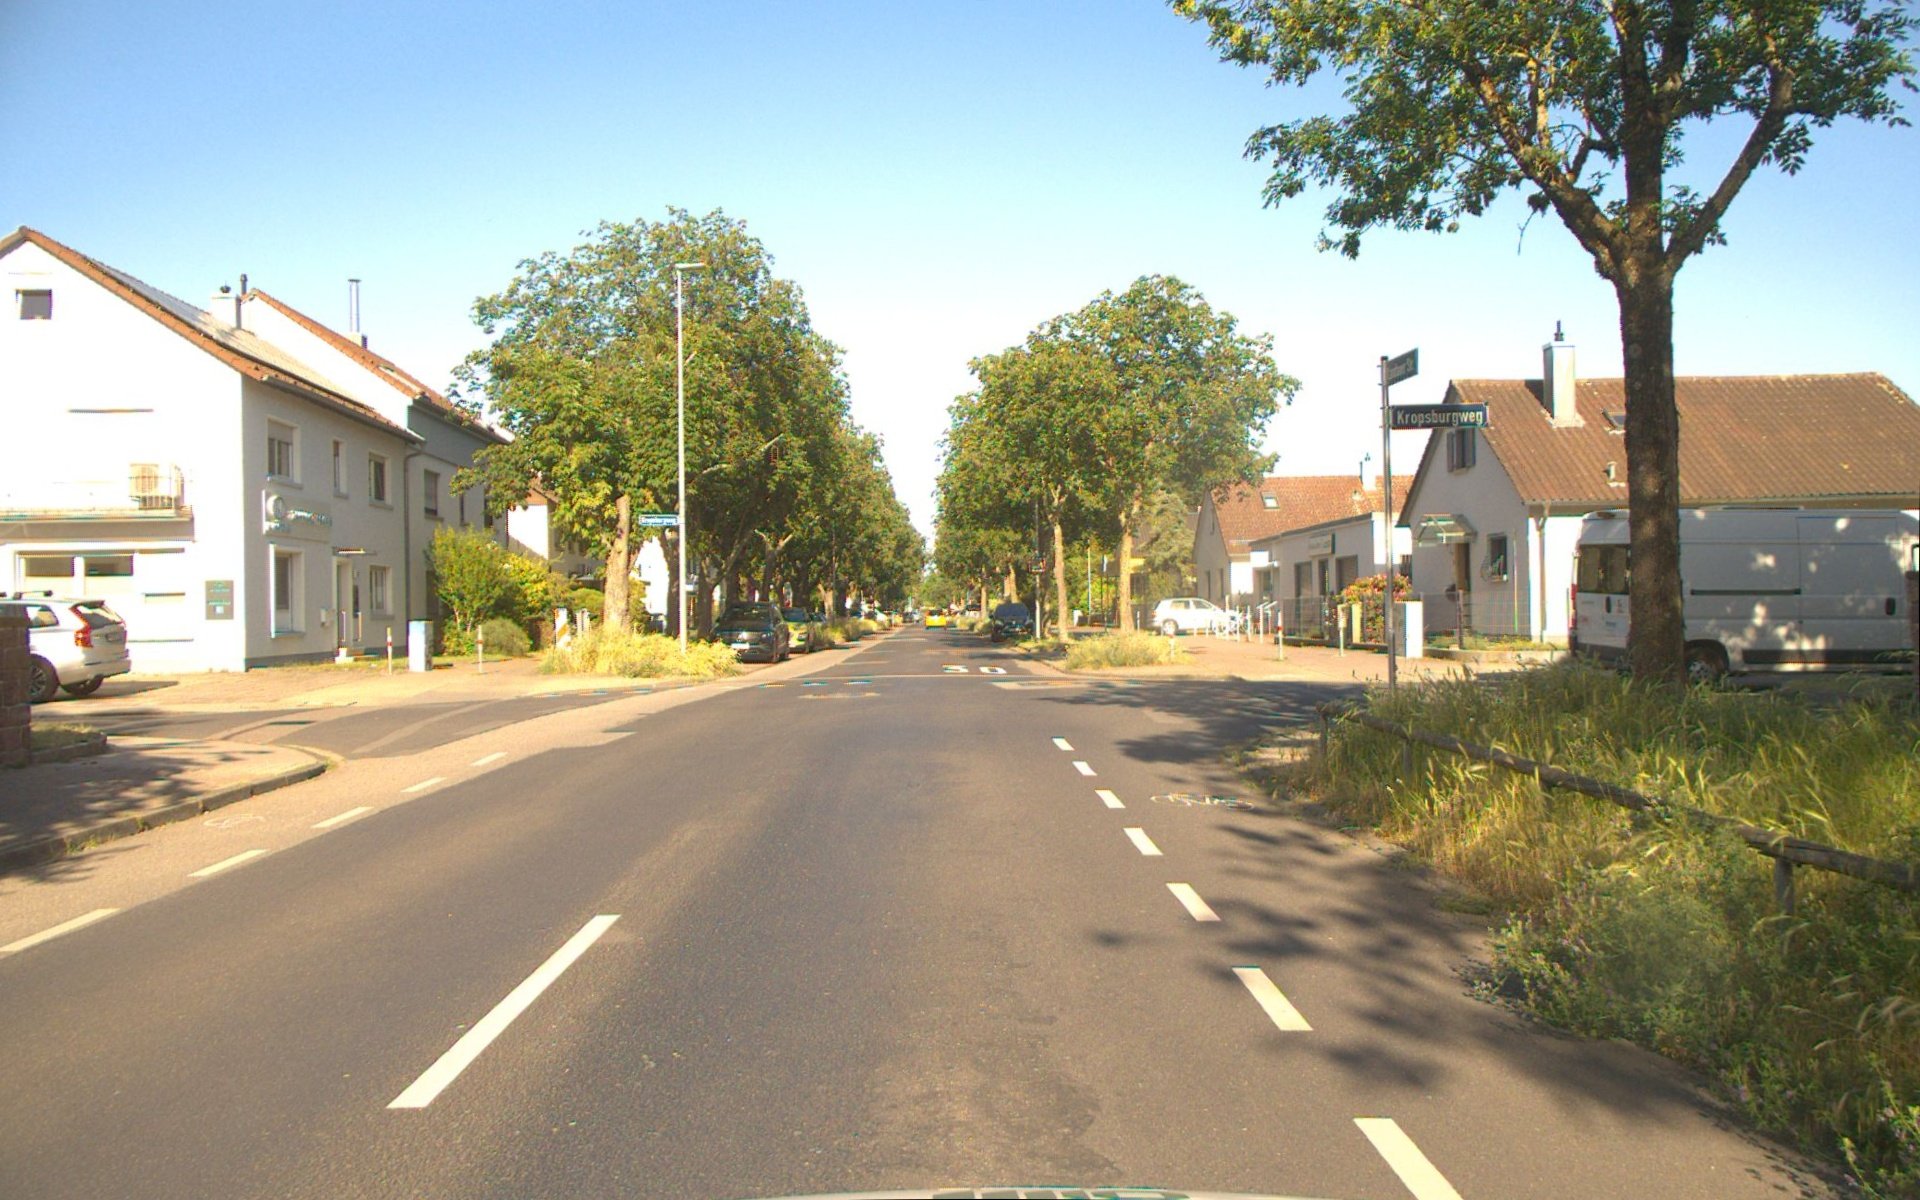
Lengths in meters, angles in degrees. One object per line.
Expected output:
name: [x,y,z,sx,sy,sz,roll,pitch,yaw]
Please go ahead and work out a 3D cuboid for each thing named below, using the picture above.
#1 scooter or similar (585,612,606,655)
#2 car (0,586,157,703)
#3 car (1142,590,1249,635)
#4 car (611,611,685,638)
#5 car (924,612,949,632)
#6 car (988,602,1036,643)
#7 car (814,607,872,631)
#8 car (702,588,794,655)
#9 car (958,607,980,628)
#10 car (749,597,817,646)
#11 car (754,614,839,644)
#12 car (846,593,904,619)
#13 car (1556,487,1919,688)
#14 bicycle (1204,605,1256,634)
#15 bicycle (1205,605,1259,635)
scooter or similar: [-8.820,0.815,40.011,0.328,1.018,0.996,-1,0,-4]
car: [-16.708,0.769,28.798,4.400,1.869,1.999,-1,3,-4]
car: [9.363,0.484,65.870,3.907,1.514,1.901,-3,1,-2]
car: [-20.108,1.551,106.800,4.465,1.646,1.998,0,1,-5]
car: [-1.894,1.746,132.191,1.850,1.505,3.886,1,-1,-2]
car: [2.286,1.017,73.838,1.815,1.654,4.468,-2,-1,-1]
car: [-9.047,1.450,127.995,4.458,1.796,1.998,0,1,-6]
car: [-5.843,0.635,46.147,1.913,1.757,4.874,0,-1,0]
car: [0.774,1.560,146.937,1.864,1.805,4.300,0,-1,-1]
car: [-6.161,0.781,57.931,1.899,1.637,4.383,0,-1,0]
car: [-8.910,1.564,90.262,4.462,1.537,1.841,0,1,-1]
car: [-7.961,0.548,155.916,5.388,2.287,2.516,0,1,-3]
car: [11.490,-0.189,23.092,5.483,2.583,2.264,-1,0,-3]
bicycle: [10.413,0.748,63.800,1.885,1.016,0.576,-2,1,-3]
bicycle: [10.332,0.759,62.808,1.919,1.016,0.576,-3,1,-3]
